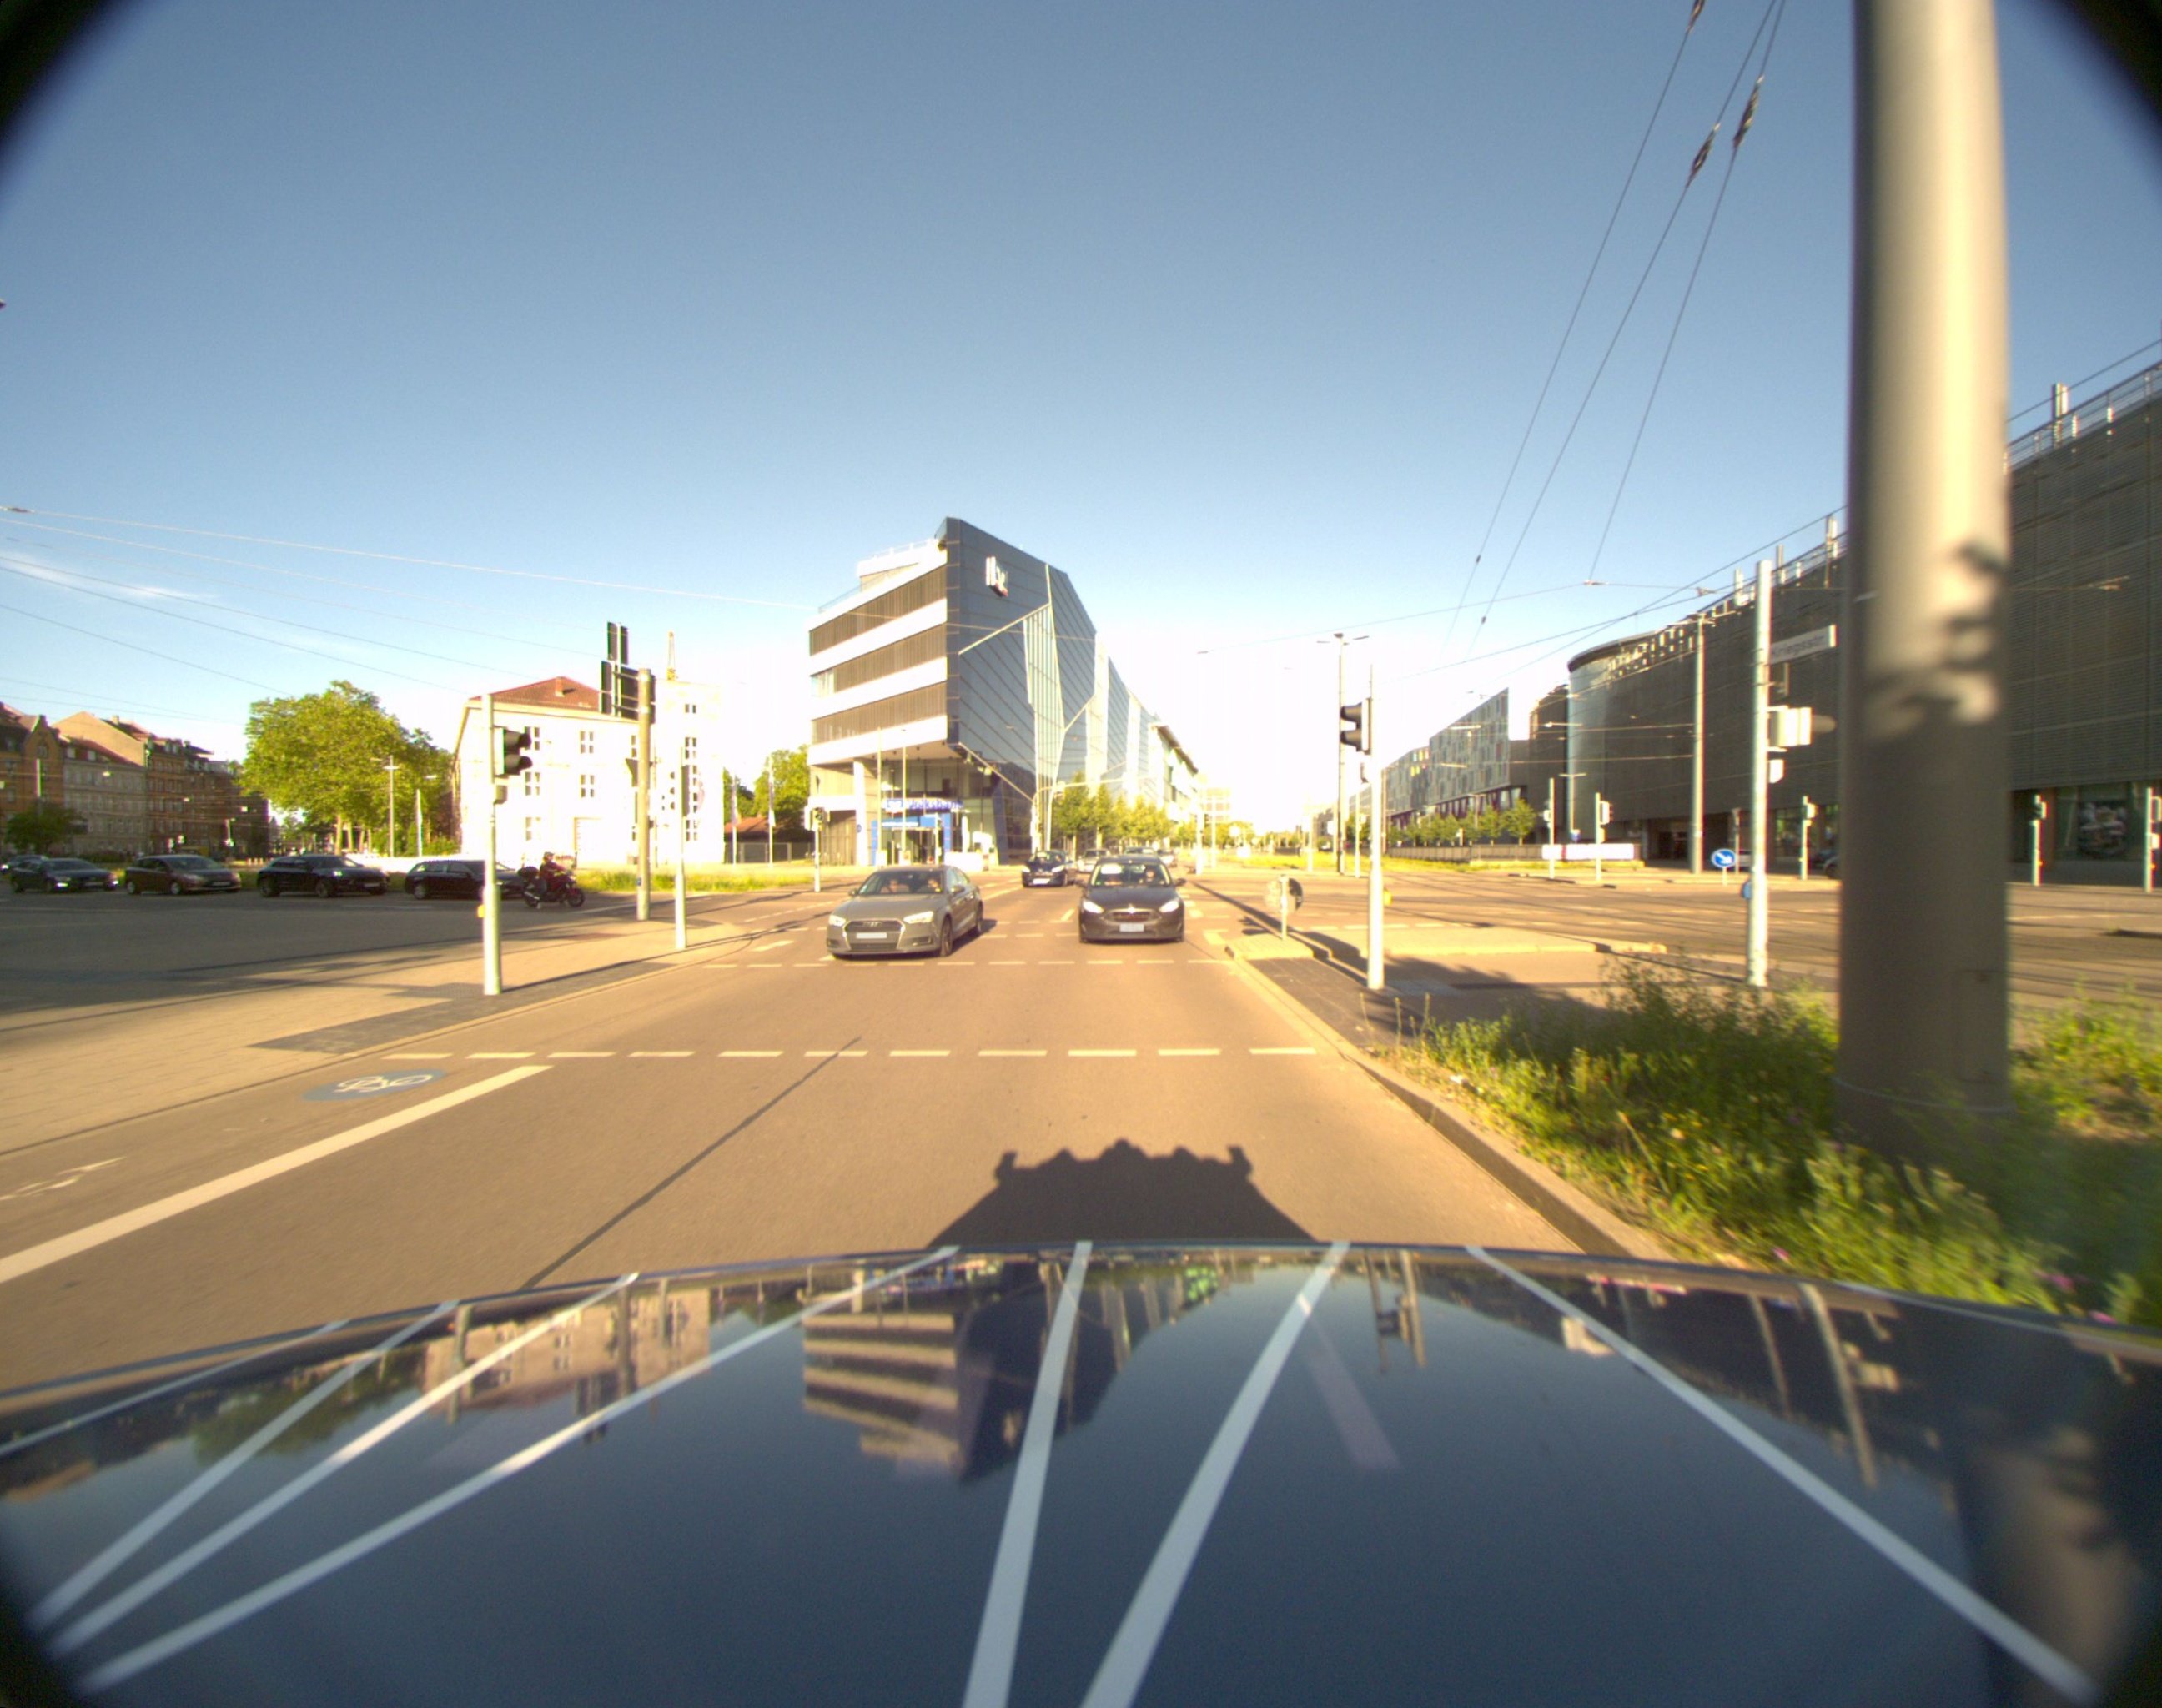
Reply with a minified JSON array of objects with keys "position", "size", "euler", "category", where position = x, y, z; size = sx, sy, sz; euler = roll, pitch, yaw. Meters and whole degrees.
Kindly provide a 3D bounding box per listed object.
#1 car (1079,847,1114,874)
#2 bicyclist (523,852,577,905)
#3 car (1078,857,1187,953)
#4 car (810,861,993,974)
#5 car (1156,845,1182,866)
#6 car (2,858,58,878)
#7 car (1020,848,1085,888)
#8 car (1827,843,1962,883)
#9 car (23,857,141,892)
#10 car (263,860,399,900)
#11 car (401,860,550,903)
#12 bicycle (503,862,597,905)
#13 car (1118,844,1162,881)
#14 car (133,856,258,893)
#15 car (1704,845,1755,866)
[{"position":[0.893,0.327,42.187],"size":[1.438,1.437,4.002],"euler":[0,1,9],"category":"car"},{"position":[-16.528,0.744,23.679],"size":[1.006,1.598,0.880],"euler":[0,1,9],"category":"bicyclist"},{"position":[0.990,0.811,13.999],"size":[1.689,1.425,4.154],"euler":[0,1,5],"category":"car"},{"position":[-2.759,0.924,12.721],"size":[1.714,1.433,4.112],"euler":[-2,1,5],"category":"car"},{"position":[6.461,0.089,55.843],"size":[1.619,1.421,3.770],"euler":[0,1,11],"category":"car"},{"position":[-79.950,1.044,57.864],"size":[3.988,1.368,1.938],"euler":[1,1,44],"category":"car"},{"position":[-1.083,0.516,30.772],"size":[1.734,1.437,4.003],"euler":[0,1,11],"category":"car"},{"position":[34.093,0.314,32.033],"size":[1.808,1.566,4.298],"euler":[1,1,15],"category":"car"},{"position":[-43.984,0.845,33.443],"size":[4.515,1.414,2.003],"euler":[0,1,22],"category":"car"},{"position":[-29.065,0.961,29.491],"size":[3.992,1.414,2.002],"euler":[0,1,15],"category":"car"},{"position":[-21.806,0.953,27.411],"size":[4.286,1.414,2.002],"euler":[0,1,15],"category":"car"},{"position":[-16.514,0.902,23.666],"size":[2.368,1.305,0.952],"euler":[0,1,9],"category":"bicycle"},{"position":[2.668,0.343,33.738],"size":[1.748,1.496,3.882],"euler":[0,1,7],"category":"car"},{"position":[-36.577,0.795,31.408],"size":[3.991,1.414,2.003],"euler":[0,1,19],"category":"car"},{"position":[43.712,0.073,51.279],"size":[1.688,1.364,3.596],"euler":[0,1,24],"category":"car"}]
